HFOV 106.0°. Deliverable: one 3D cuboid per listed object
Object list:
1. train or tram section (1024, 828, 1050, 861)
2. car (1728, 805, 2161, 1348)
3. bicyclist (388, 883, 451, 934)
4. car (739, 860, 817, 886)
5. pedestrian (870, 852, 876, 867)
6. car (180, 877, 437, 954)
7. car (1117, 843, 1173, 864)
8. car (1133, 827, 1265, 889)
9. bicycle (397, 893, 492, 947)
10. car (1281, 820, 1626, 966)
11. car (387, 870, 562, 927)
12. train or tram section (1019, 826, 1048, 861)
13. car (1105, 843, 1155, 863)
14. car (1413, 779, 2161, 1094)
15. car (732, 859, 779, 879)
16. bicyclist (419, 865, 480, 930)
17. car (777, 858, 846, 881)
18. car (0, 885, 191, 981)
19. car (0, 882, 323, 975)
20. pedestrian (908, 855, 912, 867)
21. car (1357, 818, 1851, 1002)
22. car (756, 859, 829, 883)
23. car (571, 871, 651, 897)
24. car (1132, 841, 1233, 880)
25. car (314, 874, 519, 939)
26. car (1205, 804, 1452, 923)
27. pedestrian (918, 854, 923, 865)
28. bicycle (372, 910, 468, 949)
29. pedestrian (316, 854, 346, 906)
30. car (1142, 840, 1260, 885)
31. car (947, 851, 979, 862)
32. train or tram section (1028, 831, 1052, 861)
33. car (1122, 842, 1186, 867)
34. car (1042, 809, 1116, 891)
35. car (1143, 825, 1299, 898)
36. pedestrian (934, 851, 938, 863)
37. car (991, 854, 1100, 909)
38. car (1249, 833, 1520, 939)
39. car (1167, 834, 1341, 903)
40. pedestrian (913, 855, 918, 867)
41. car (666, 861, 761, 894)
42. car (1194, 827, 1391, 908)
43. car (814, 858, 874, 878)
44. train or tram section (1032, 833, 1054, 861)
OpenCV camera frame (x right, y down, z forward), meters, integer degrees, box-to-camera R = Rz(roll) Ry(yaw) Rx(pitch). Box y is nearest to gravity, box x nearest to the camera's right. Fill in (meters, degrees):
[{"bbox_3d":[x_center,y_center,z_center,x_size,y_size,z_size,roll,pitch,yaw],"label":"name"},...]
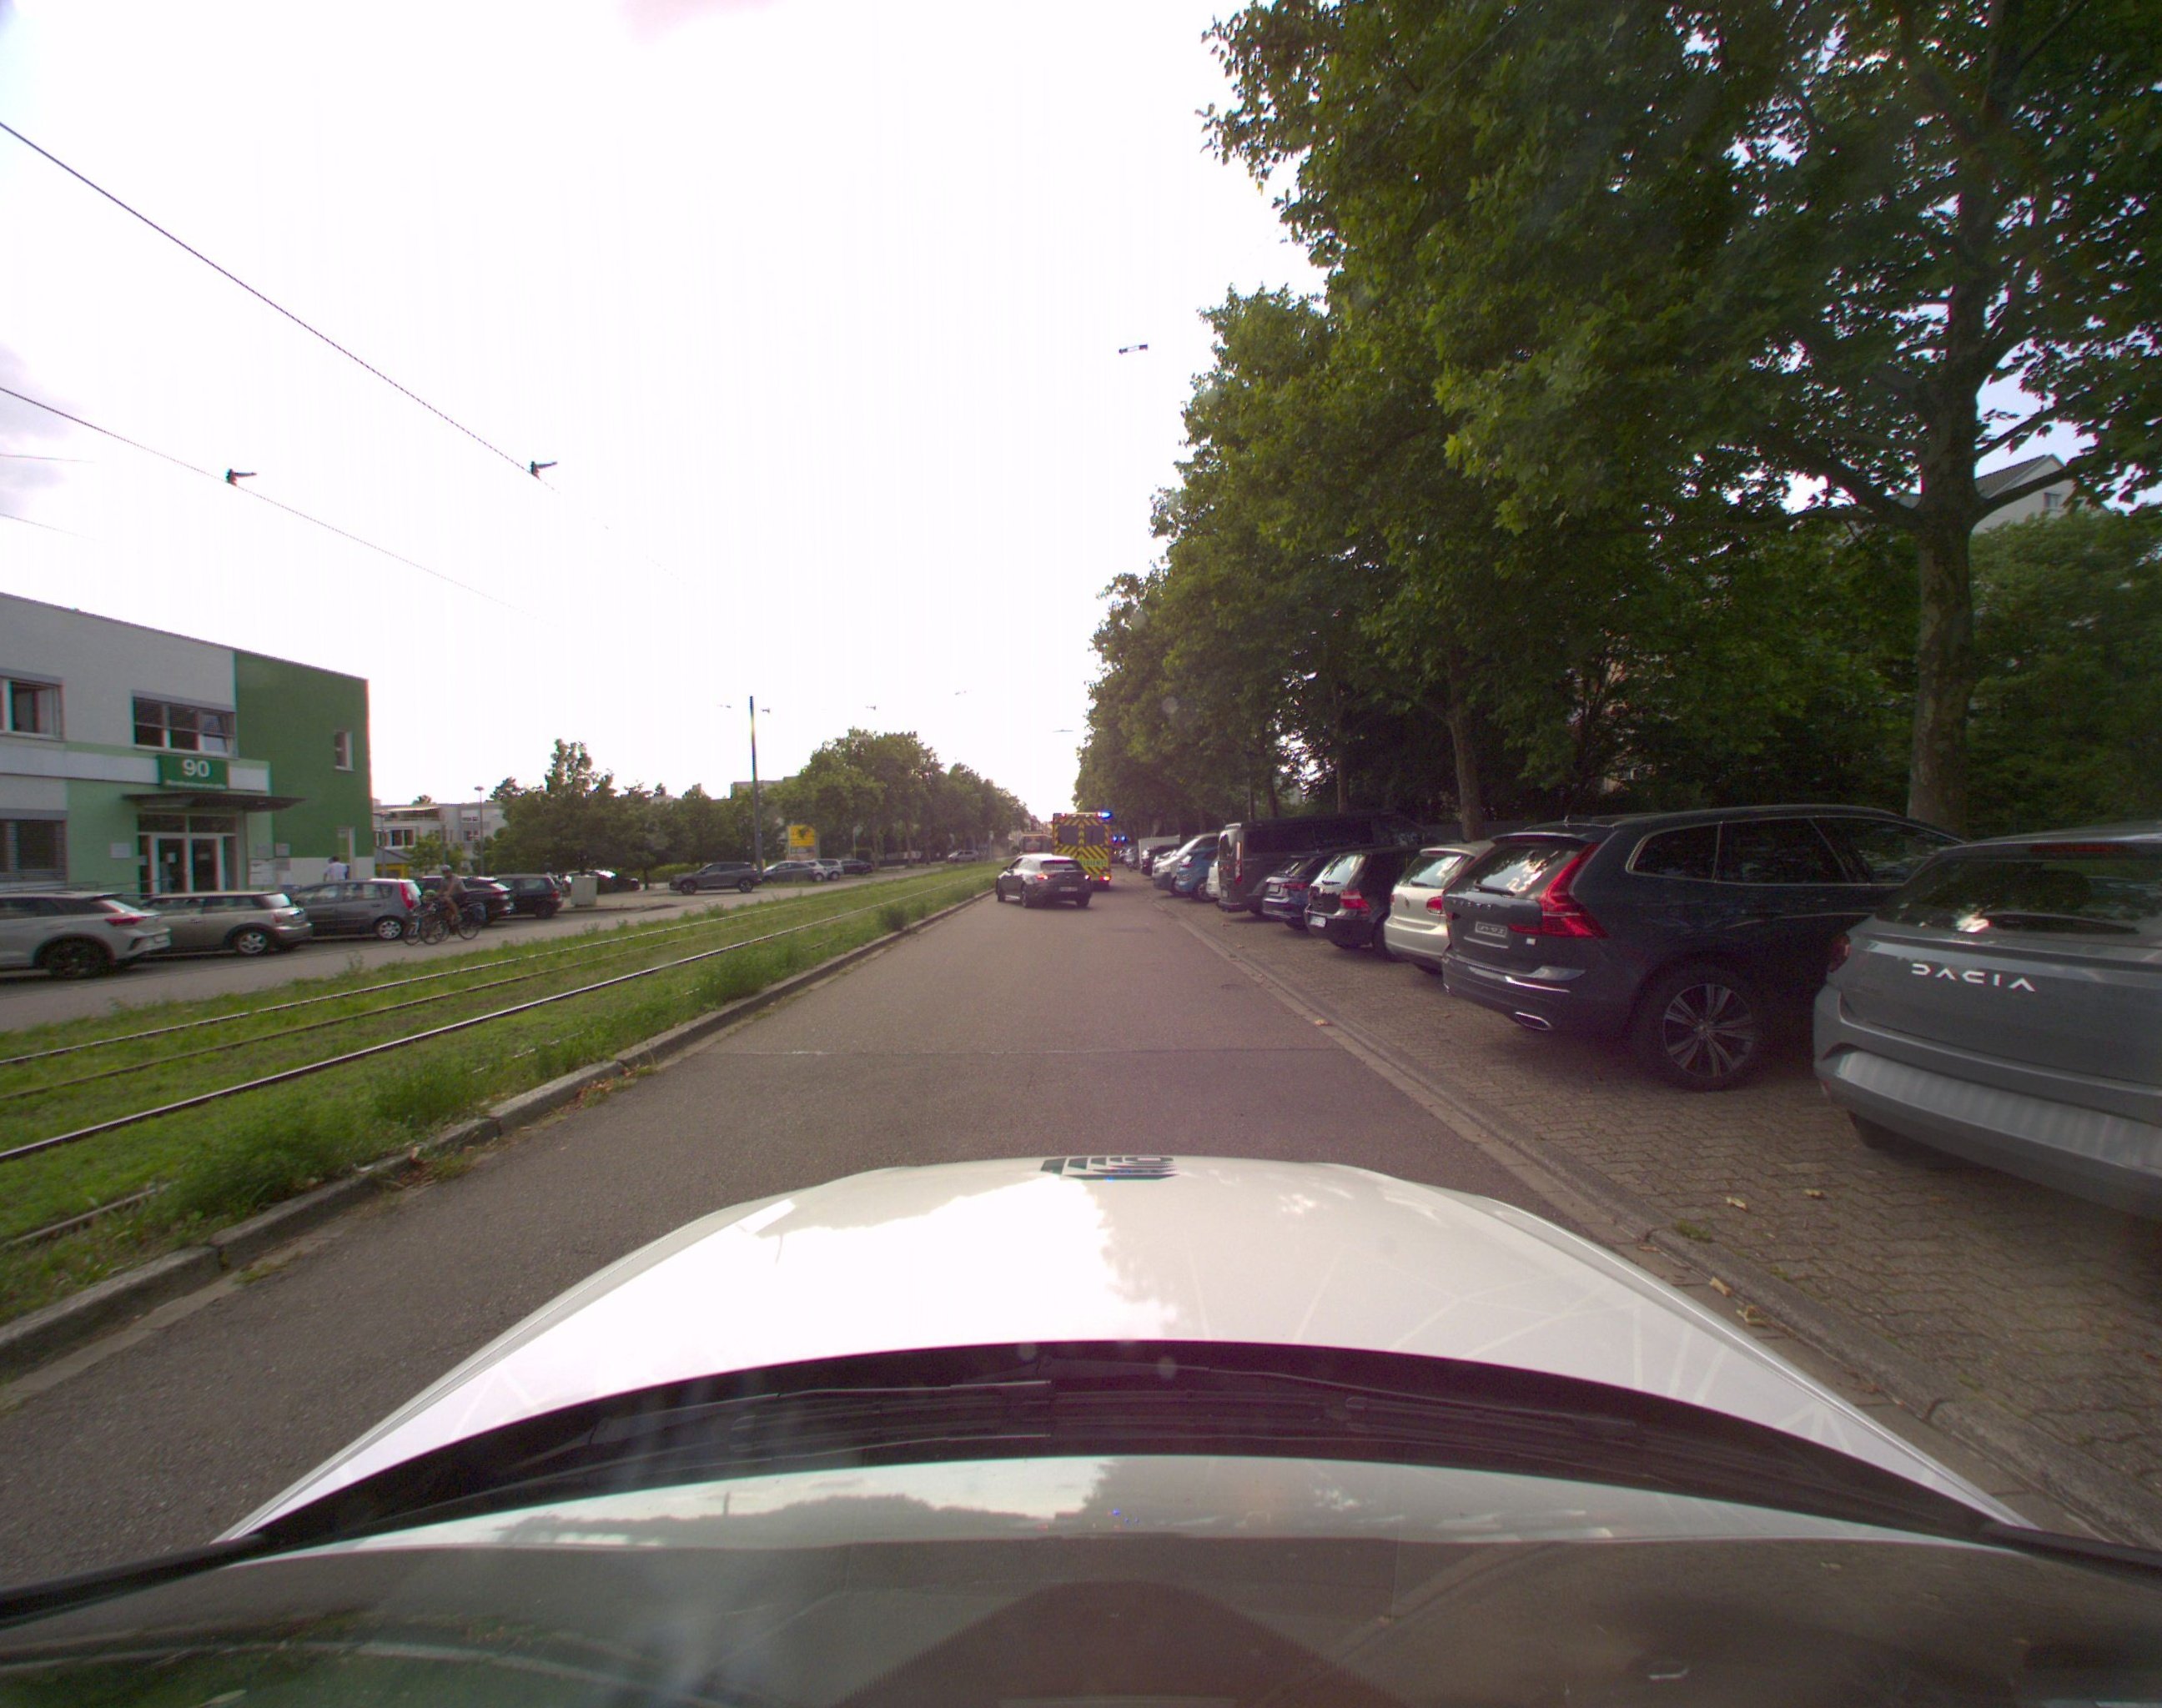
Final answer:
[{"bbox_3d":[-5.136,-1.039,96.588,2.504,3.584,7.443,-3,0,0],"label":"train or tram section"},{"bbox_3d":[5.222,0.524,2.905,4.364,1.501,1.757,-3,0,1],"label":"car"},{"bbox_3d":[-15.573,1.271,19.184,0.636,1.113,0.930,-2,0,5],"label":"bicyclist"},{"bbox_3d":[-18.947,1.165,51.028,4.253,1.482,1.863,-1,0,-36],"label":"car"},{"bbox_3d":[-23.658,0.594,92.620,0.465,1.676,0.603,-2,0,-2],"label":"pedestrian"},{"bbox_3d":[-18.992,1.456,20.329,4.247,1.482,1.866,-3,1,-29],"label":"car"},{"bbox_3d":[5.539,-0.044,70.729,4.537,1.608,1.853,-3,0,-4],"label":"car"},{"bbox_3d":[4.386,0.129,30.687,4.537,2.043,1.853,-3,0,-4],"label":"car"},{"bbox_3d":[-14.852,1.526,19.069,0.642,1.079,1.808,-2,0,6],"label":"bicycle"},{"bbox_3d":[4.996,0.459,11.145,3.967,1.605,1.750,-3,0,-11],"label":"car"},{"bbox_3d":[-19.445,1.376,26.377,4.247,1.482,1.866,-3,1,-29],"label":"car"},{"bbox_3d":[-5.135,-1.098,89.157,2.504,3.584,7.443,-3,0,0],"label":"train or tram section"},{"bbox_3d":[4.740,-0.105,78.960,4.537,1.608,1.853,-3,0,-4],"label":"car"},{"bbox_3d":[4.836,0.458,5.582,4.364,1.639,1.757,-3,0,1],"label":"car"},{"bbox_3d":[-29.736,1.356,74.474,3.949,1.750,2.013,0,0,31],"label":"car"},{"bbox_3d":[-14.859,1.008,19.189,0.620,1.457,0.930,-2,0,6],"label":"bicyclist"},{"bbox_3d":[-18.820,1.090,56.957,4.253,1.482,1.863,-1,0,-36],"label":"car"},{"bbox_3d":[-19.120,1.445,14.348,4.252,1.482,1.863,-3,1,-34],"label":"car"},{"bbox_3d":[-19.259,1.478,17.296,4.247,1.482,1.866,-3,1,-29],"label":"car"},{"bbox_3d":[-21.695,0.926,103.379,0.420,1.473,0.467,-2,0,-5],"label":"pedestrian"},{"bbox_3d":[5.152,0.509,8.418,3.953,1.494,1.755,-3,0,-1],"label":"car"},{"bbox_3d":[-19.083,1.092,53.926,4.253,1.482,1.863,-1,0,-36],"label":"car"},{"bbox_3d":[-29.476,1.897,51.168,3.971,1.565,1.778,0,-1,2],"label":"car"},{"bbox_3d":[4.858,0.291,39.318,4.537,1.608,1.853,-3,0,-4],"label":"car"},{"bbox_3d":[-18.917,1.443,23.470,4.247,1.482,1.866,-3,1,-29],"label":"car"},{"bbox_3d":[5.065,0.187,17.108,4.532,2.123,1.855,-3,0,-1],"label":"car"},{"bbox_3d":[-22.825,0.803,115.599,0.631,1.551,0.621,-2,0,-6],"label":"pedestrian"},{"bbox_3d":[-15.551,1.765,19.224,0.642,0.717,1.808,-2,0,6],"label":"bicycle"},{"bbox_3d":[-27.116,0.925,29.456,0.544,1.828,0.508,-2,0,-2],"label":"pedestrian"},{"bbox_3d":[4.976,0.338,34.161,4.537,1.608,1.853,-3,0,-4],"label":"car"},{"bbox_3d":[-18.738,0.409,129.694,4.651,1.633,1.861,-3,0,-39],"label":"car"},{"bbox_3d":[-5.128,-0.980,104.032,2.504,3.584,7.443,-3,0,0],"label":"train or tram section"},{"bbox_3d":[5.420,0.007,60.878,4.537,1.608,1.853,-3,0,-4],"label":"car"},{"bbox_3d":[0.035,-0.158,32.693,2.631,2.966,6.302,1,0,2],"label":"car"},{"bbox_3d":[4.409,0.214,26.093,4.537,2.000,1.853,-3,0,-4],"label":"car"},{"bbox_3d":[-22.718,0.433,127.937,0.465,1.828,0.422,-2,0,-2],"label":"pedestrian"},{"bbox_3d":[-1.123,0.695,23.154,1.767,1.385,4.436,0,0,-21],"label":"car"},{"bbox_3d":[5.081,0.515,13.997,3.953,1.494,1.755,-3,0,-1],"label":"car"},{"bbox_3d":[4.926,0.401,23.559,4.538,1.660,1.853,-3,0,-5],"label":"car"},{"bbox_3d":[-21.411,0.896,105.257,0.417,1.414,0.470,-2,0,25],"label":"pedestrian"},{"bbox_3d":[-18.408,1.161,40.894,4.242,1.482,1.868,-1,0,-25],"label":"car"},{"bbox_3d":[5.356,0.325,21.028,4.532,1.766,1.855,-3,0,-1],"label":"car"},{"bbox_3d":[-18.932,1.088,65.161,4.256,1.482,1.861,-1,0,-40],"label":"car"},{"bbox_3d":[-5.113,-0.921,111.474,2.504,3.584,7.443,-3,0,0],"label":"train or tram section"}]
